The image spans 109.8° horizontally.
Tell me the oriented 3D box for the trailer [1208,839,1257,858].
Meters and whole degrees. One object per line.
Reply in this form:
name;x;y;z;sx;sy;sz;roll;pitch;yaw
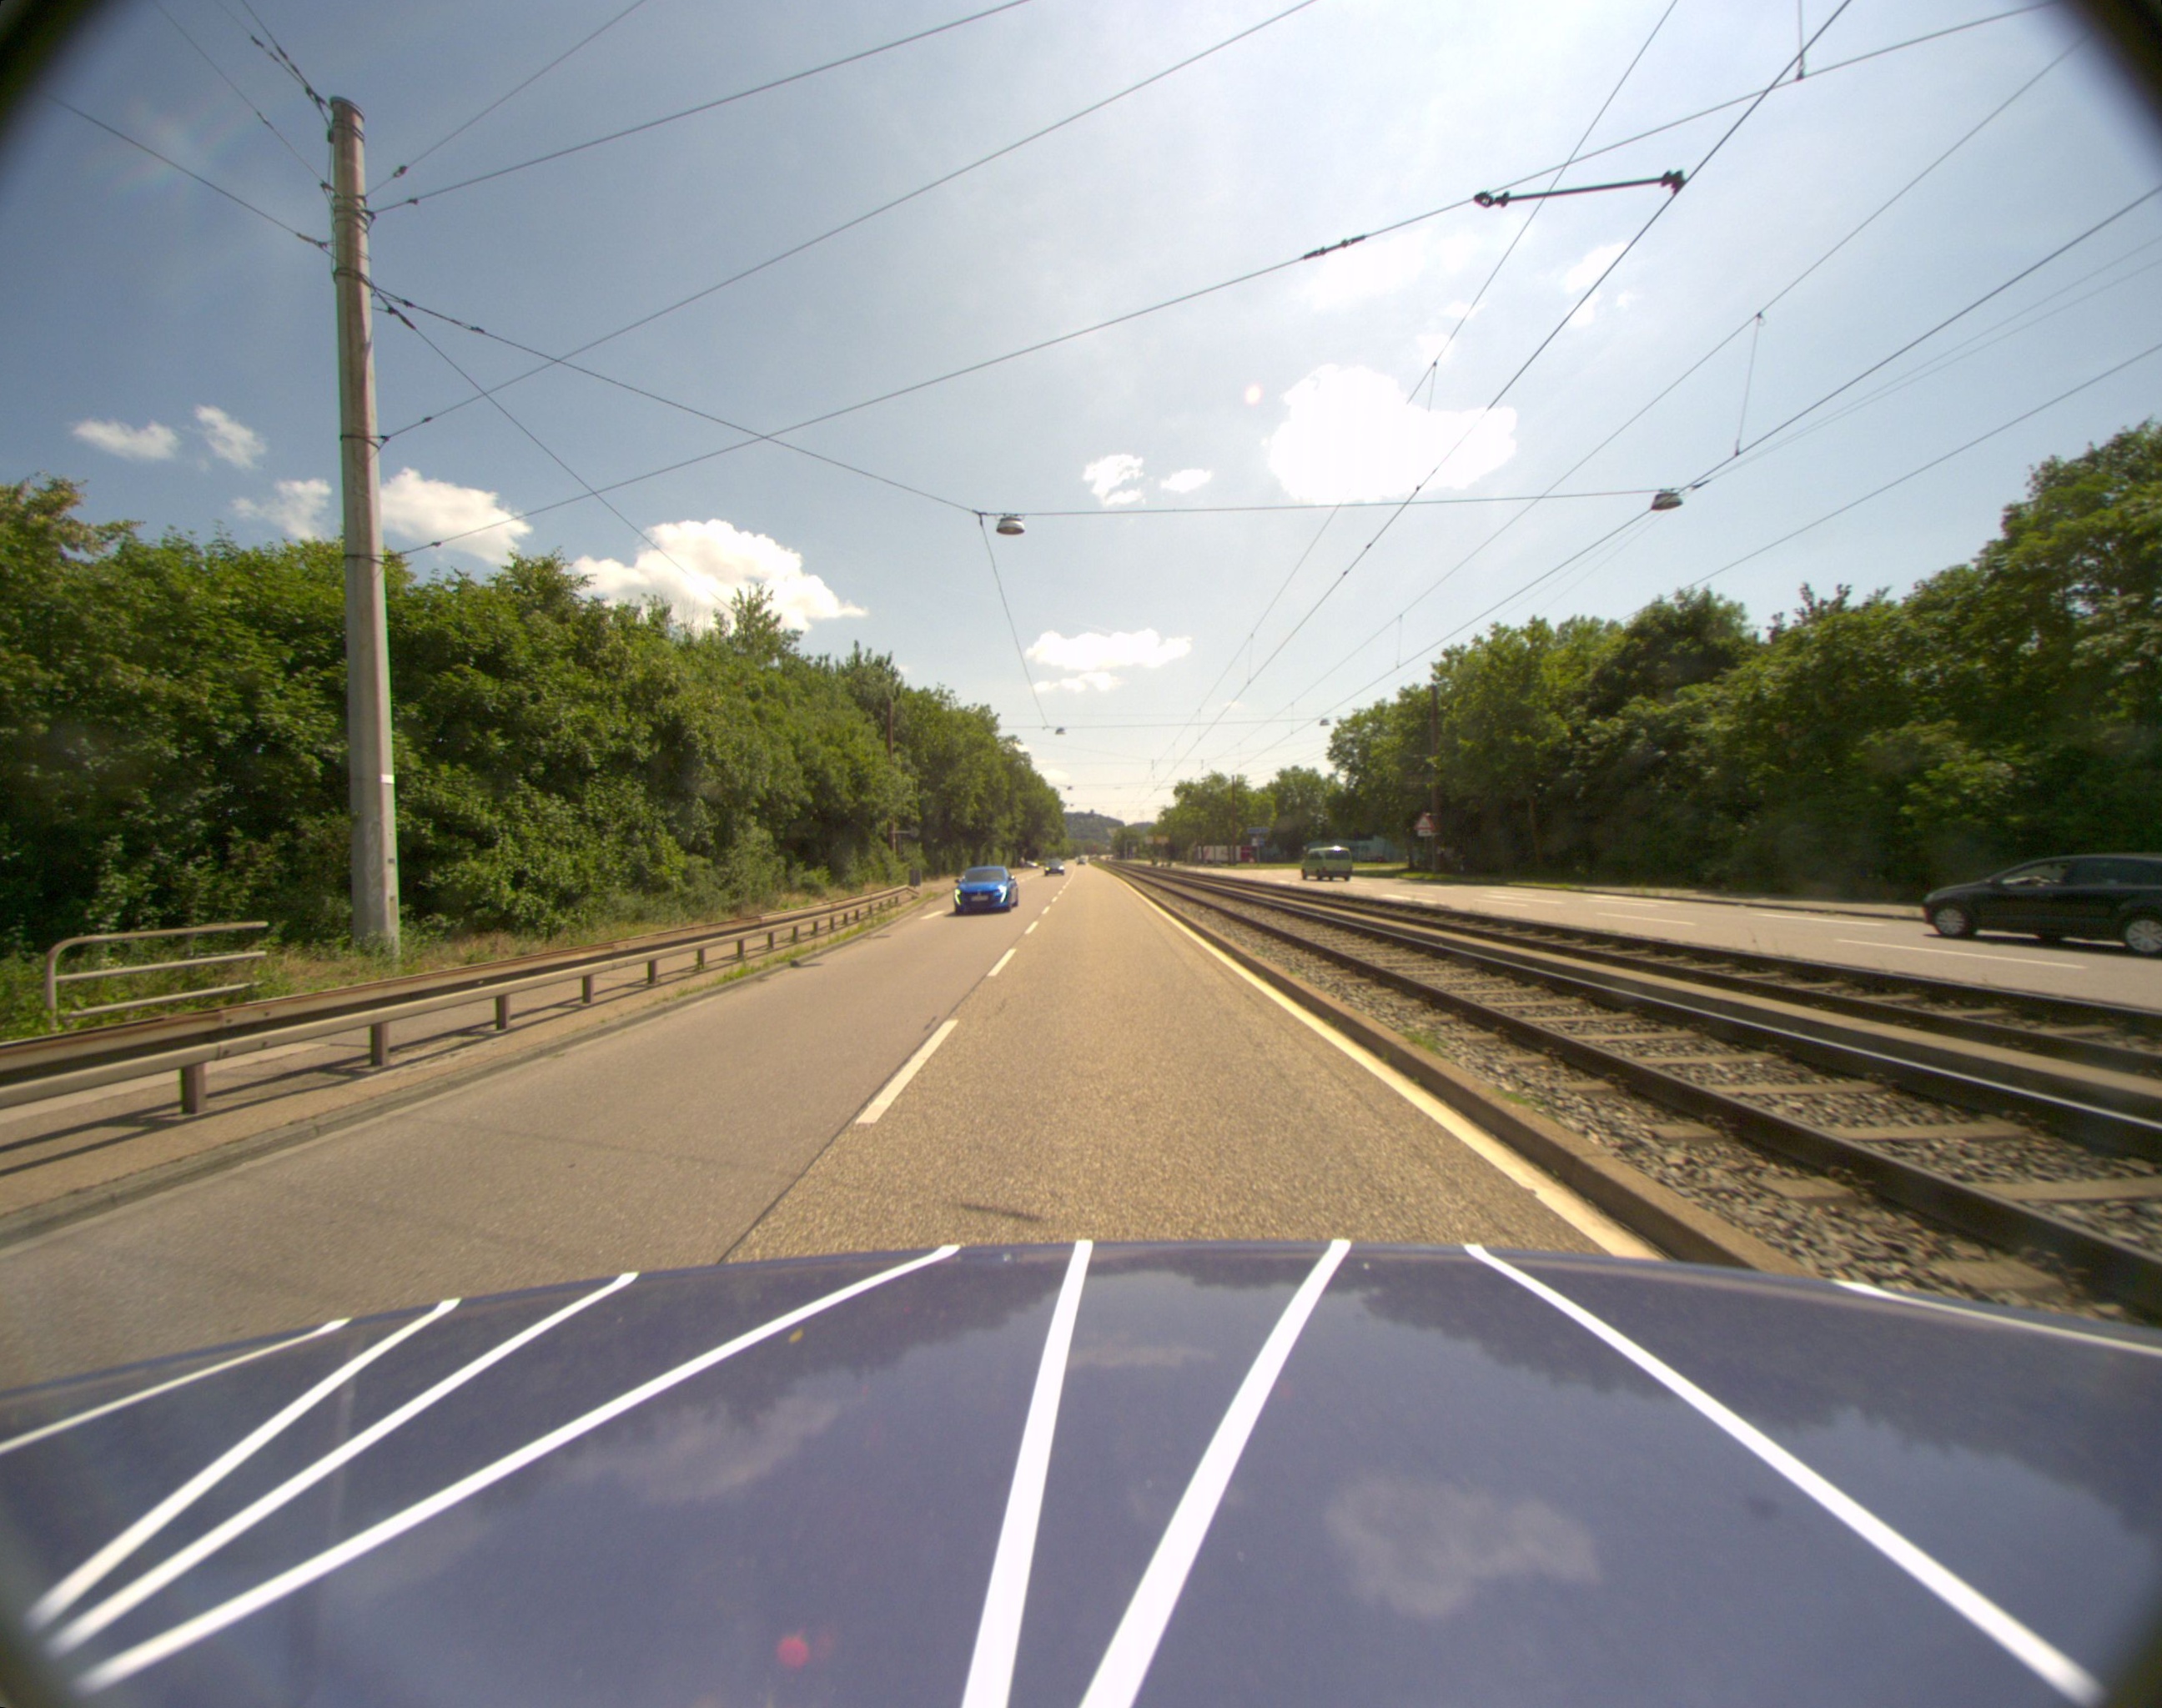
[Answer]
trailer;30.371;-1.064;153.282;3.393;3.633;12.085;-1;0;-24

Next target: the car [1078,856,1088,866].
car;0.412;1.591;163.204;1.998;2.002;3.999;-2;1;0

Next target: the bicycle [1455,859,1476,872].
bicycle;26.250;0.773;51.931;0.587;0.814;2.069;-3;1;6

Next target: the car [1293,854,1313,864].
car;38.822;0.920;132.805;1.567;1.781;3.392;-1;0;-25

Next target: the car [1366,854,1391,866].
car;45.828;0.899;117.177;1.567;1.781;3.392;-1;0;-25

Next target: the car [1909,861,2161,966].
car;15.187;0.810;11.269;1.567;1.339;3.928;0;0;1

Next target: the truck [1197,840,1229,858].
truck;27.620;-0.997;159.685;3.423;3.680;6.746;-1;0;-24

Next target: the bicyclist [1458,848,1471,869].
bicyclist;26.228;0.295;51.913;0.570;1.360;0.631;-3;2;7

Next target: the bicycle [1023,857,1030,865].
bicycle;-8.259;1.076;115.588;0.710;1.131;2.538;-1;0;2

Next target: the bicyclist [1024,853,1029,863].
bicyclist;-8.274;0.618;115.426;0.704;1.431;0.641;-1;0;1

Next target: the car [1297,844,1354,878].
car;14.407;0.387;45.108;1.816;1.914;5.178;0;0;1

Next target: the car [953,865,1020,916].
car;-2.986;1.127;24.626;1.660;1.397;3.743;-2;0;0

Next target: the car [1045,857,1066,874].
car;-2.324;1.049;70.743;1.769;1.359;3.743;-2;0;0
